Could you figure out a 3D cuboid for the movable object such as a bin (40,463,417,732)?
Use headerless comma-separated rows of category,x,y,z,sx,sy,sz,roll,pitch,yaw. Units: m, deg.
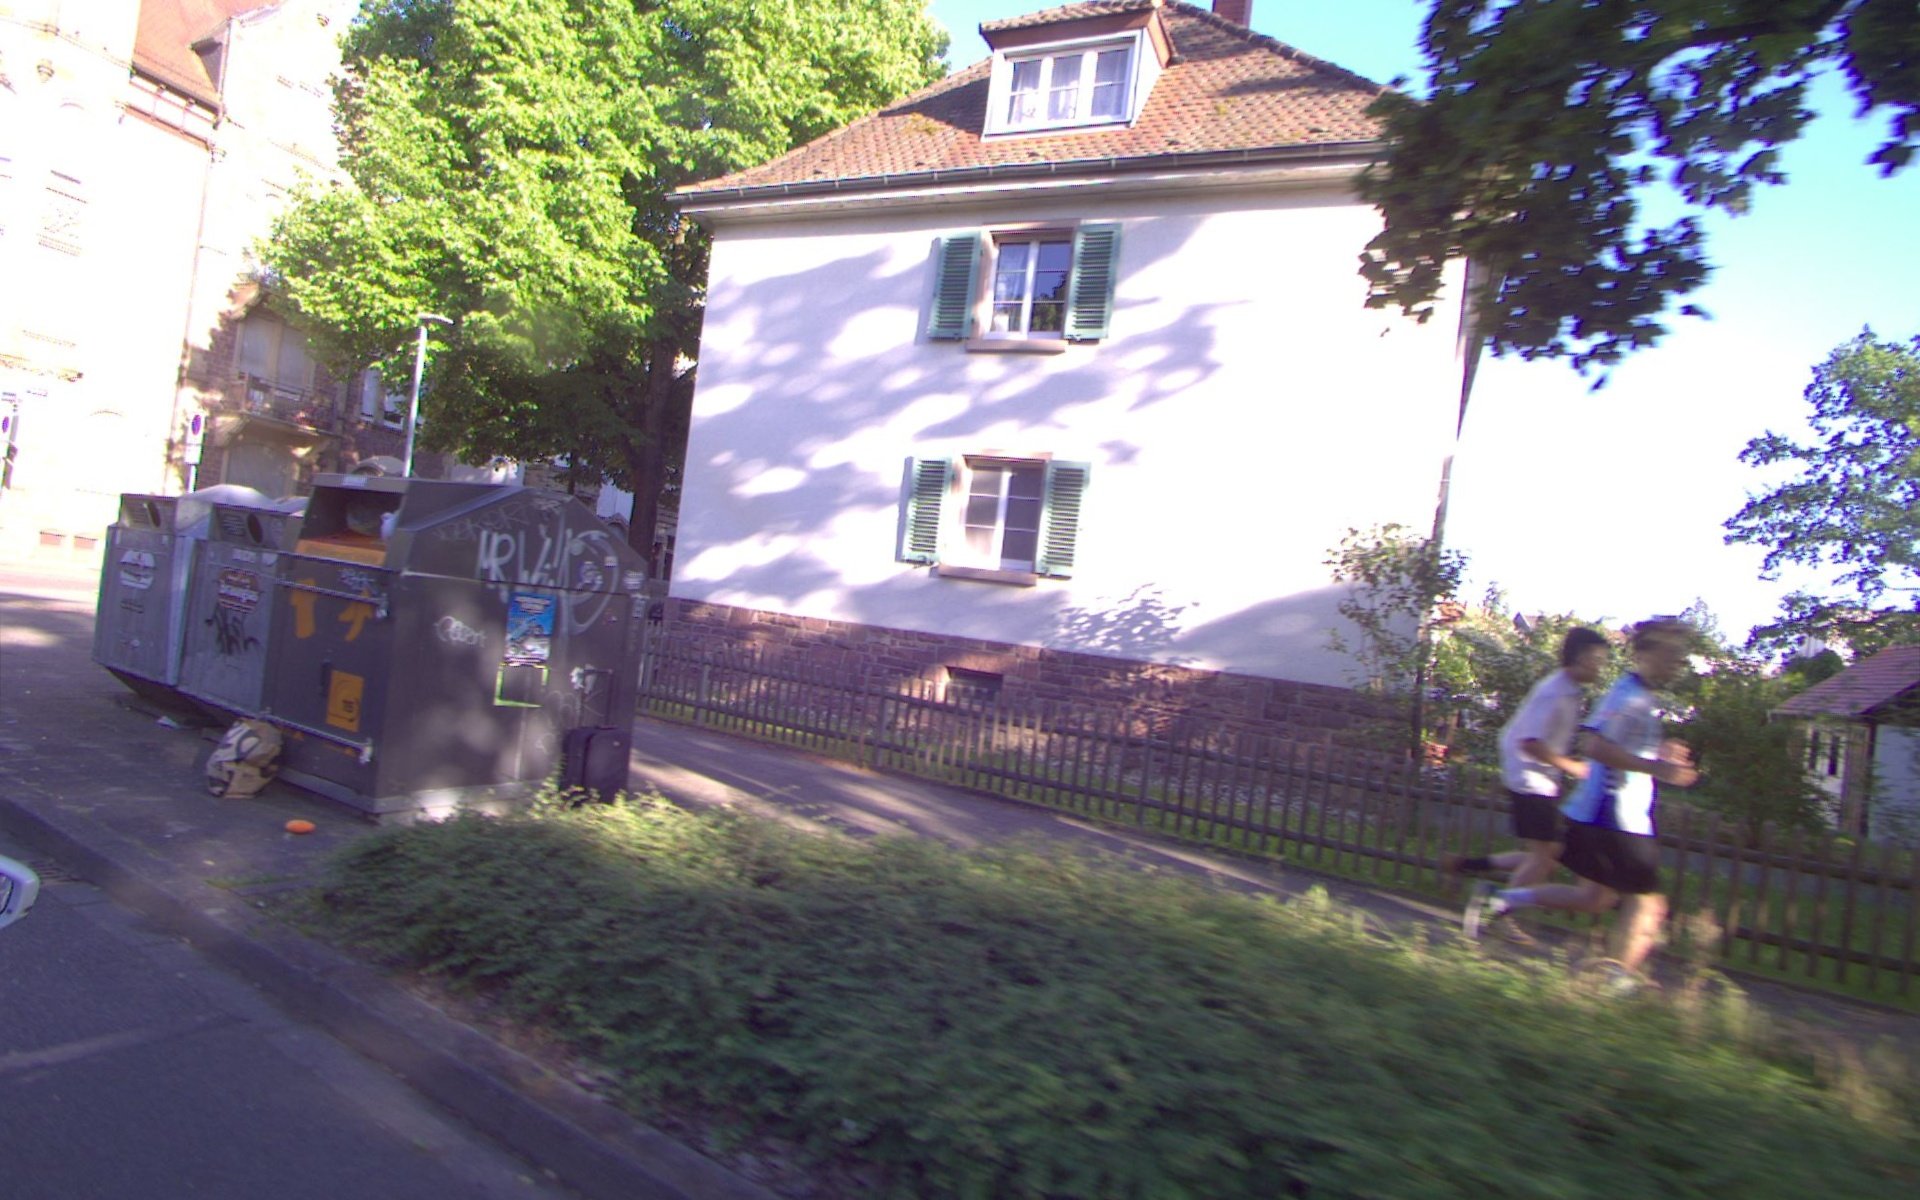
movable object such as a bin,-5.363,0.014,7.452,1.613,1.676,1.590,6,-3,31

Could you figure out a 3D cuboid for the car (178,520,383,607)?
car,-18.352,-0.922,27.410,1.703,1.639,4.263,8,-3,22

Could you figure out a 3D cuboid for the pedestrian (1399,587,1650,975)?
pedestrian,3.174,0.957,5.693,1.001,1.915,0.644,6,-2,32

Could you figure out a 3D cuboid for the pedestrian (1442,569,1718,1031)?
pedestrian,2.933,0.881,4.816,0.880,1.915,0.674,6,-2,32

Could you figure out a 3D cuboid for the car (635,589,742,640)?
car,-11.681,0.665,43.626,1.704,1.591,4.711,6,-3,25

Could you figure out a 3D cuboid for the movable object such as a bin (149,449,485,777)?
movable object such as a bin,-4.144,0.084,6.523,1.363,1.848,1.150,6,-2,31

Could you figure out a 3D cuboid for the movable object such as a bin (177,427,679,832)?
movable object such as a bin,-2.940,0.182,5.795,1.370,1.874,1.925,6,-3,31
